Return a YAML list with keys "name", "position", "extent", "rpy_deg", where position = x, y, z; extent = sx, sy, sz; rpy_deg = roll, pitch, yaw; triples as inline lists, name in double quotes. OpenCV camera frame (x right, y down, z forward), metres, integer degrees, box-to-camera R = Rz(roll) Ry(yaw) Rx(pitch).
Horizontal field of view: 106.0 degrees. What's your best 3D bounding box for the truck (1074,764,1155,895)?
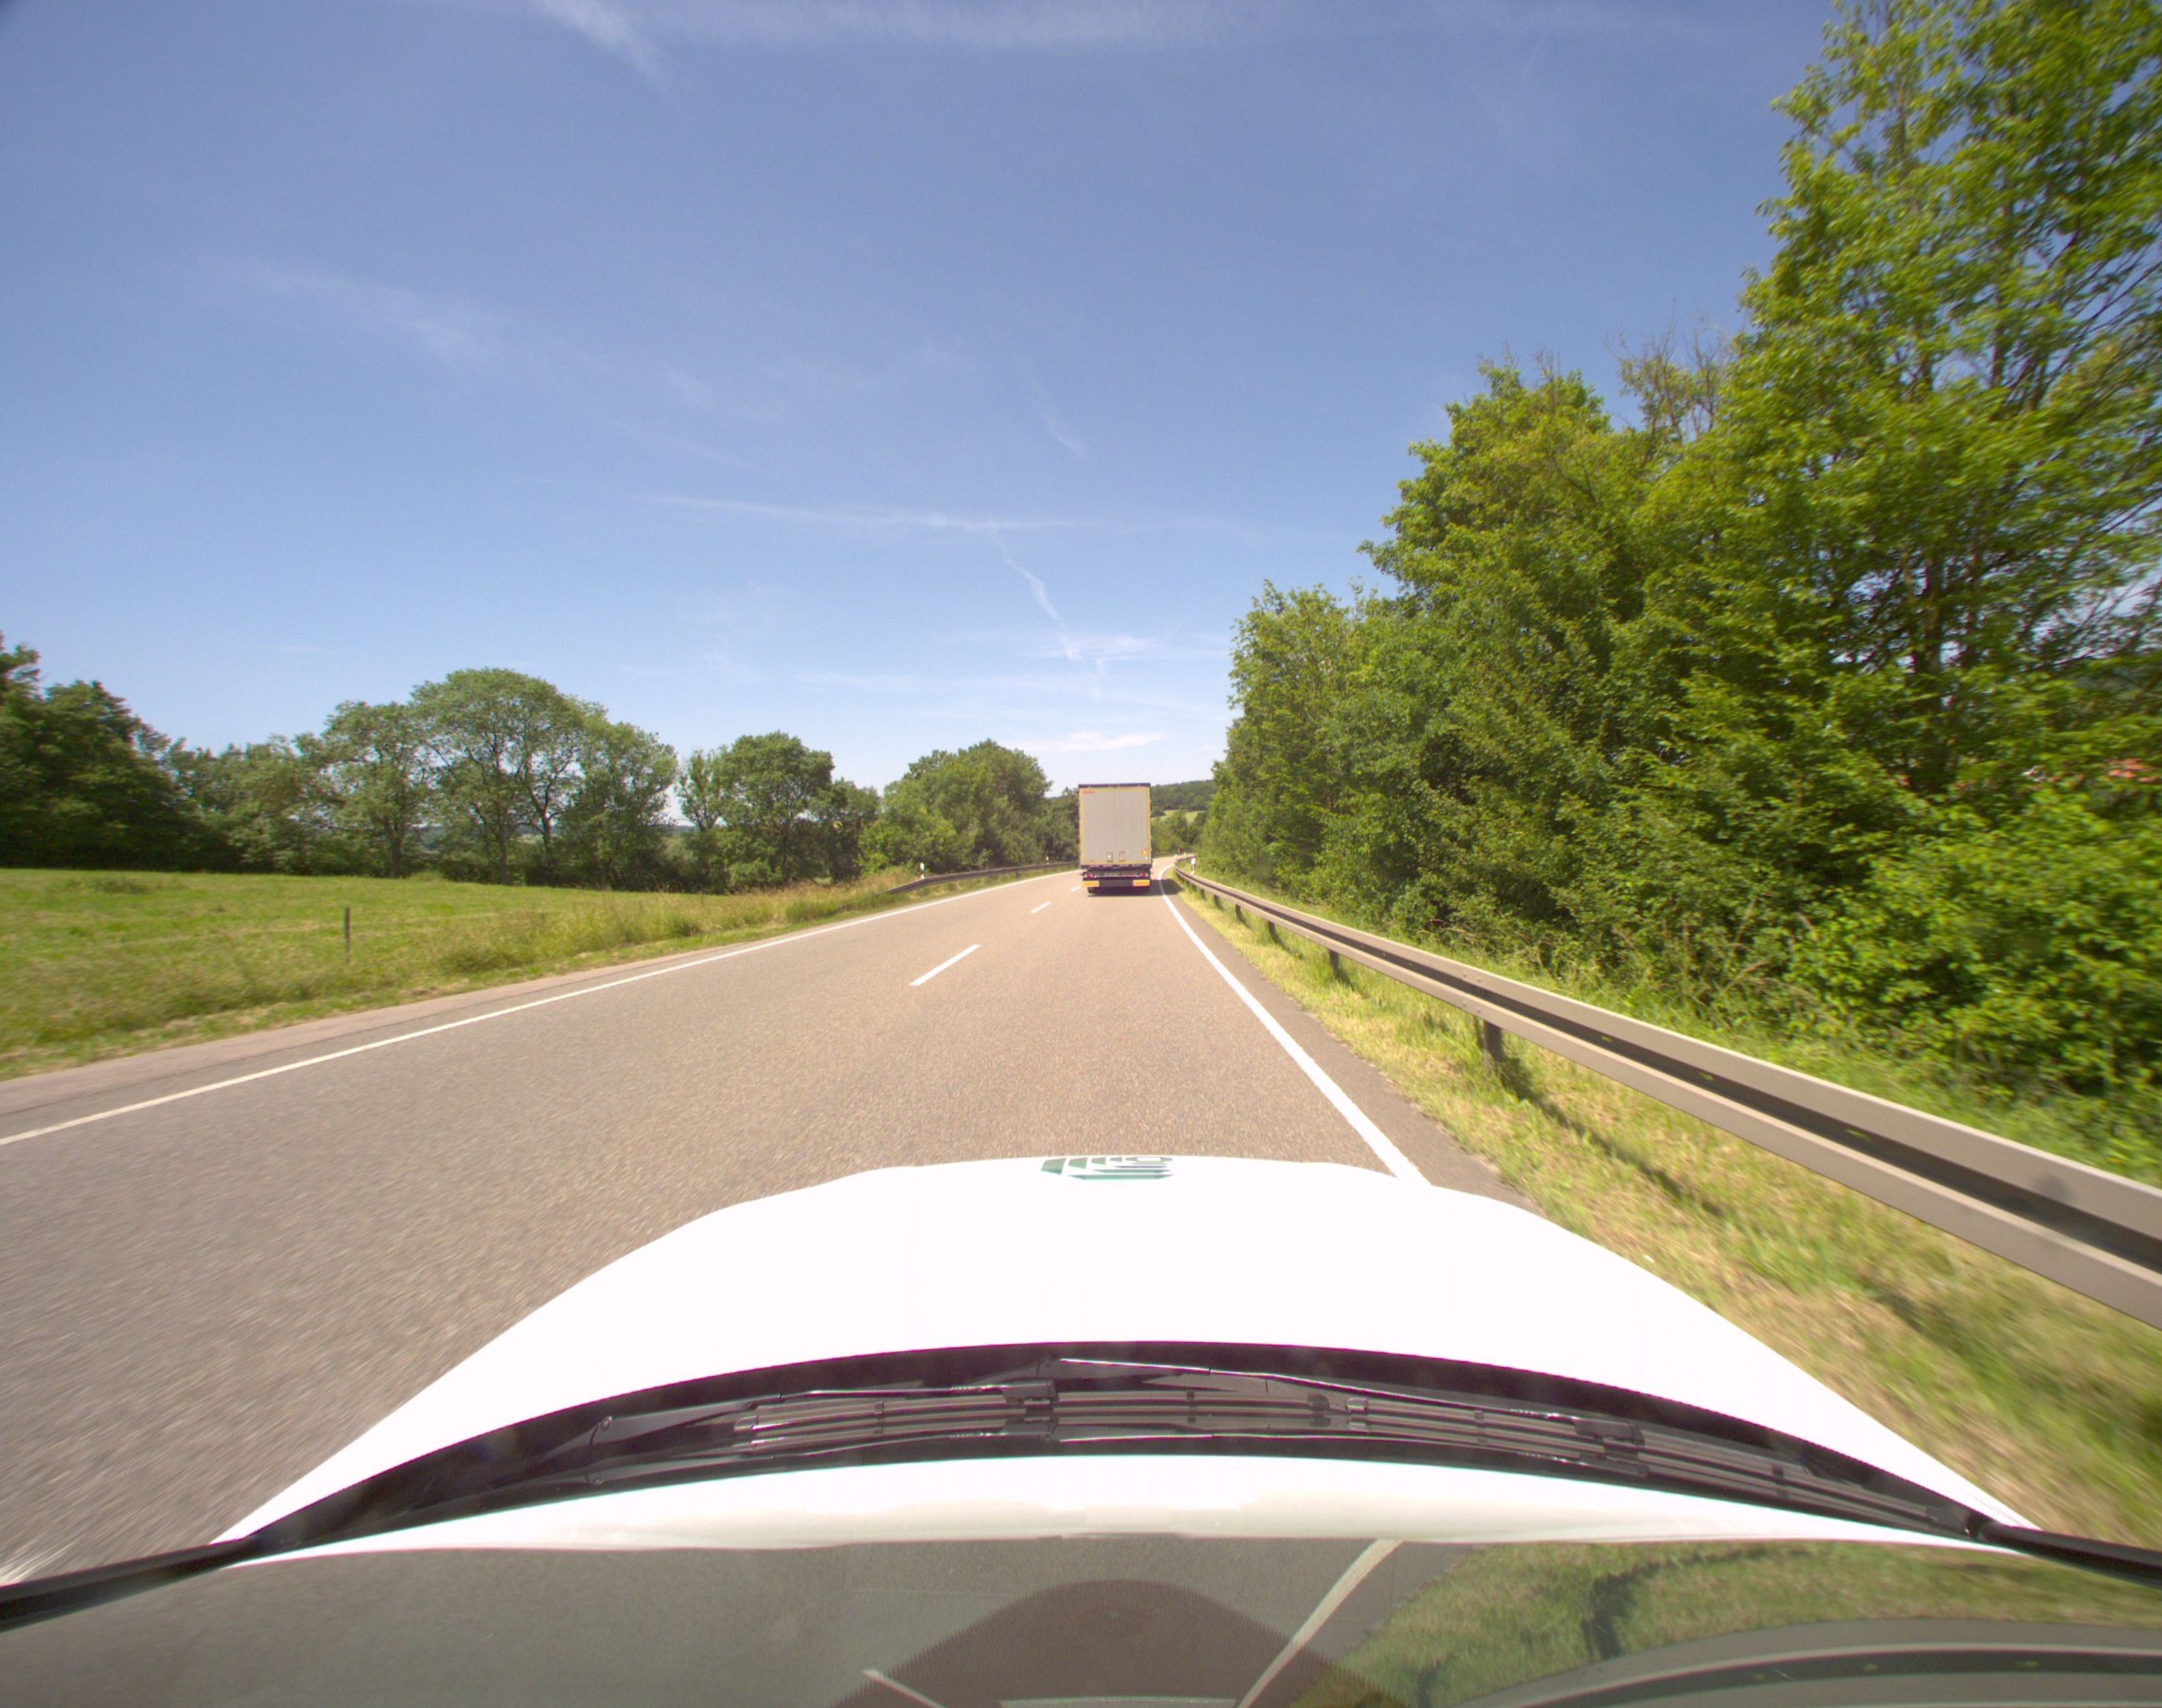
- name: "truck"
  position: [1.542, -0.854, 34.387]
  extent: [2.805, 4.532, 11.779]
  rpy_deg: [-1, 0, 4]
